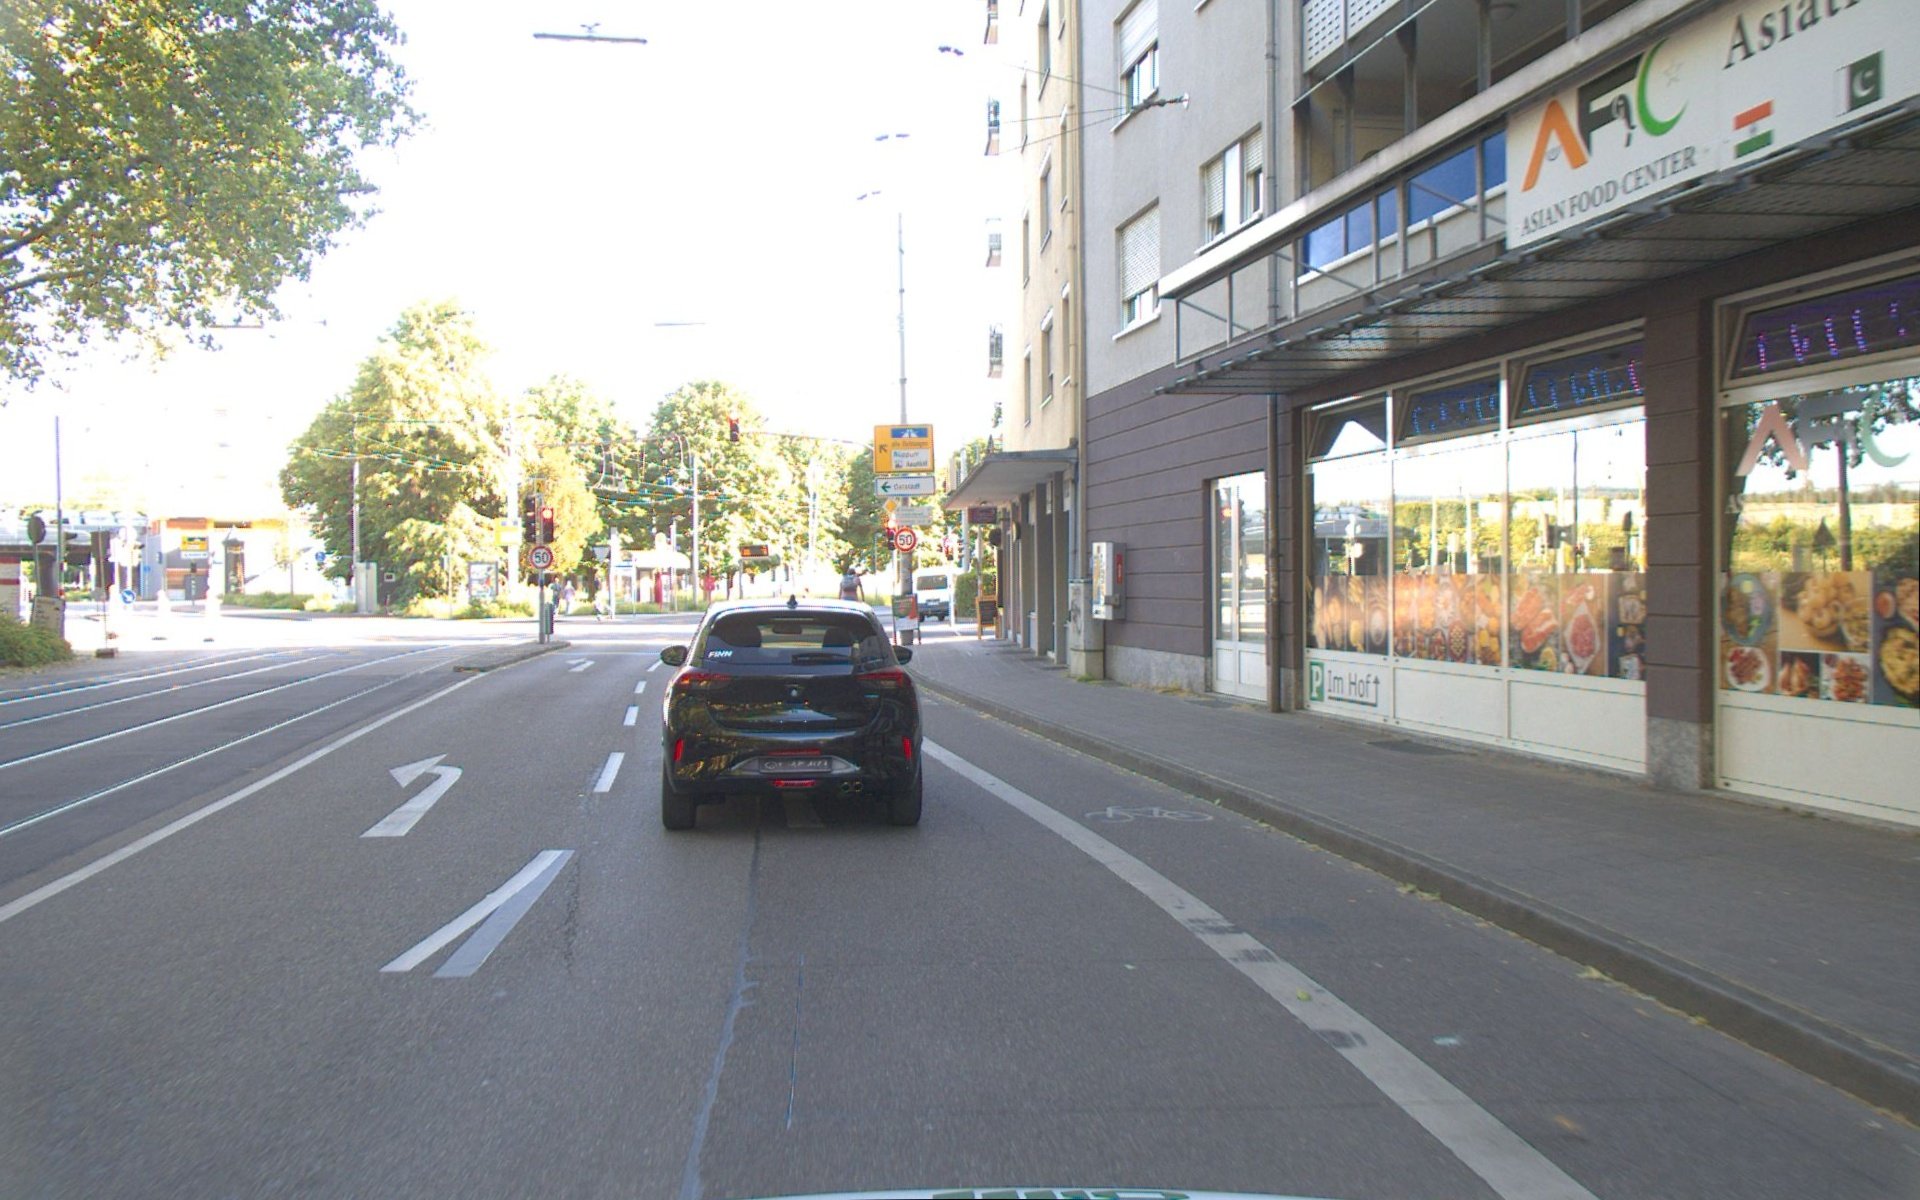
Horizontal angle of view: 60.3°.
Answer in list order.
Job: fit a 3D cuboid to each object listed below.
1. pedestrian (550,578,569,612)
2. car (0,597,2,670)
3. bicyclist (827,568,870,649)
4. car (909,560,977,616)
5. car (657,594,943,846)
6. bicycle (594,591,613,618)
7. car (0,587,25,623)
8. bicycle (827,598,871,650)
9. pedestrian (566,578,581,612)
[{"bbox_3d":[-19.869,-0.252,82.052,0.735,1.658,0.597,1,-1,-1],"label":"pedestrian"},{"bbox_3d":[-21.107,0.661,31.693,4.429,1.454,1.672,0,0,-9],"label":"car"},{"bbox_3d":[-2.660,0.189,39.485,0.924,1.883,0.862,-1,1,-9],"label":"bicyclist"},{"bbox_3d":[-0.686,-0.516,70.610,2.019,2.288,4.891,-1,1,10],"label":"car"},{"bbox_3d":[-1.216,0.697,11.899,1.694,1.454,4.180,0,0,-8],"label":"car"},{"bbox_3d":[-14.788,0.180,68.573,0.594,1.049,1.978,-1,1,-8],"label":"bicycle"},{"bbox_3d":[-42.570,0.206,73.323,1.804,1.545,3.858,1,0,-28],"label":"car"},{"bbox_3d":[-2.656,0.554,39.407,0.844,1.173,2.168,-1,1,-8],"label":"bicycle"},{"bbox_3d":[-19.177,-0.240,82.063,0.623,1.658,0.572,1,-1,-1],"label":"pedestrian"}]
